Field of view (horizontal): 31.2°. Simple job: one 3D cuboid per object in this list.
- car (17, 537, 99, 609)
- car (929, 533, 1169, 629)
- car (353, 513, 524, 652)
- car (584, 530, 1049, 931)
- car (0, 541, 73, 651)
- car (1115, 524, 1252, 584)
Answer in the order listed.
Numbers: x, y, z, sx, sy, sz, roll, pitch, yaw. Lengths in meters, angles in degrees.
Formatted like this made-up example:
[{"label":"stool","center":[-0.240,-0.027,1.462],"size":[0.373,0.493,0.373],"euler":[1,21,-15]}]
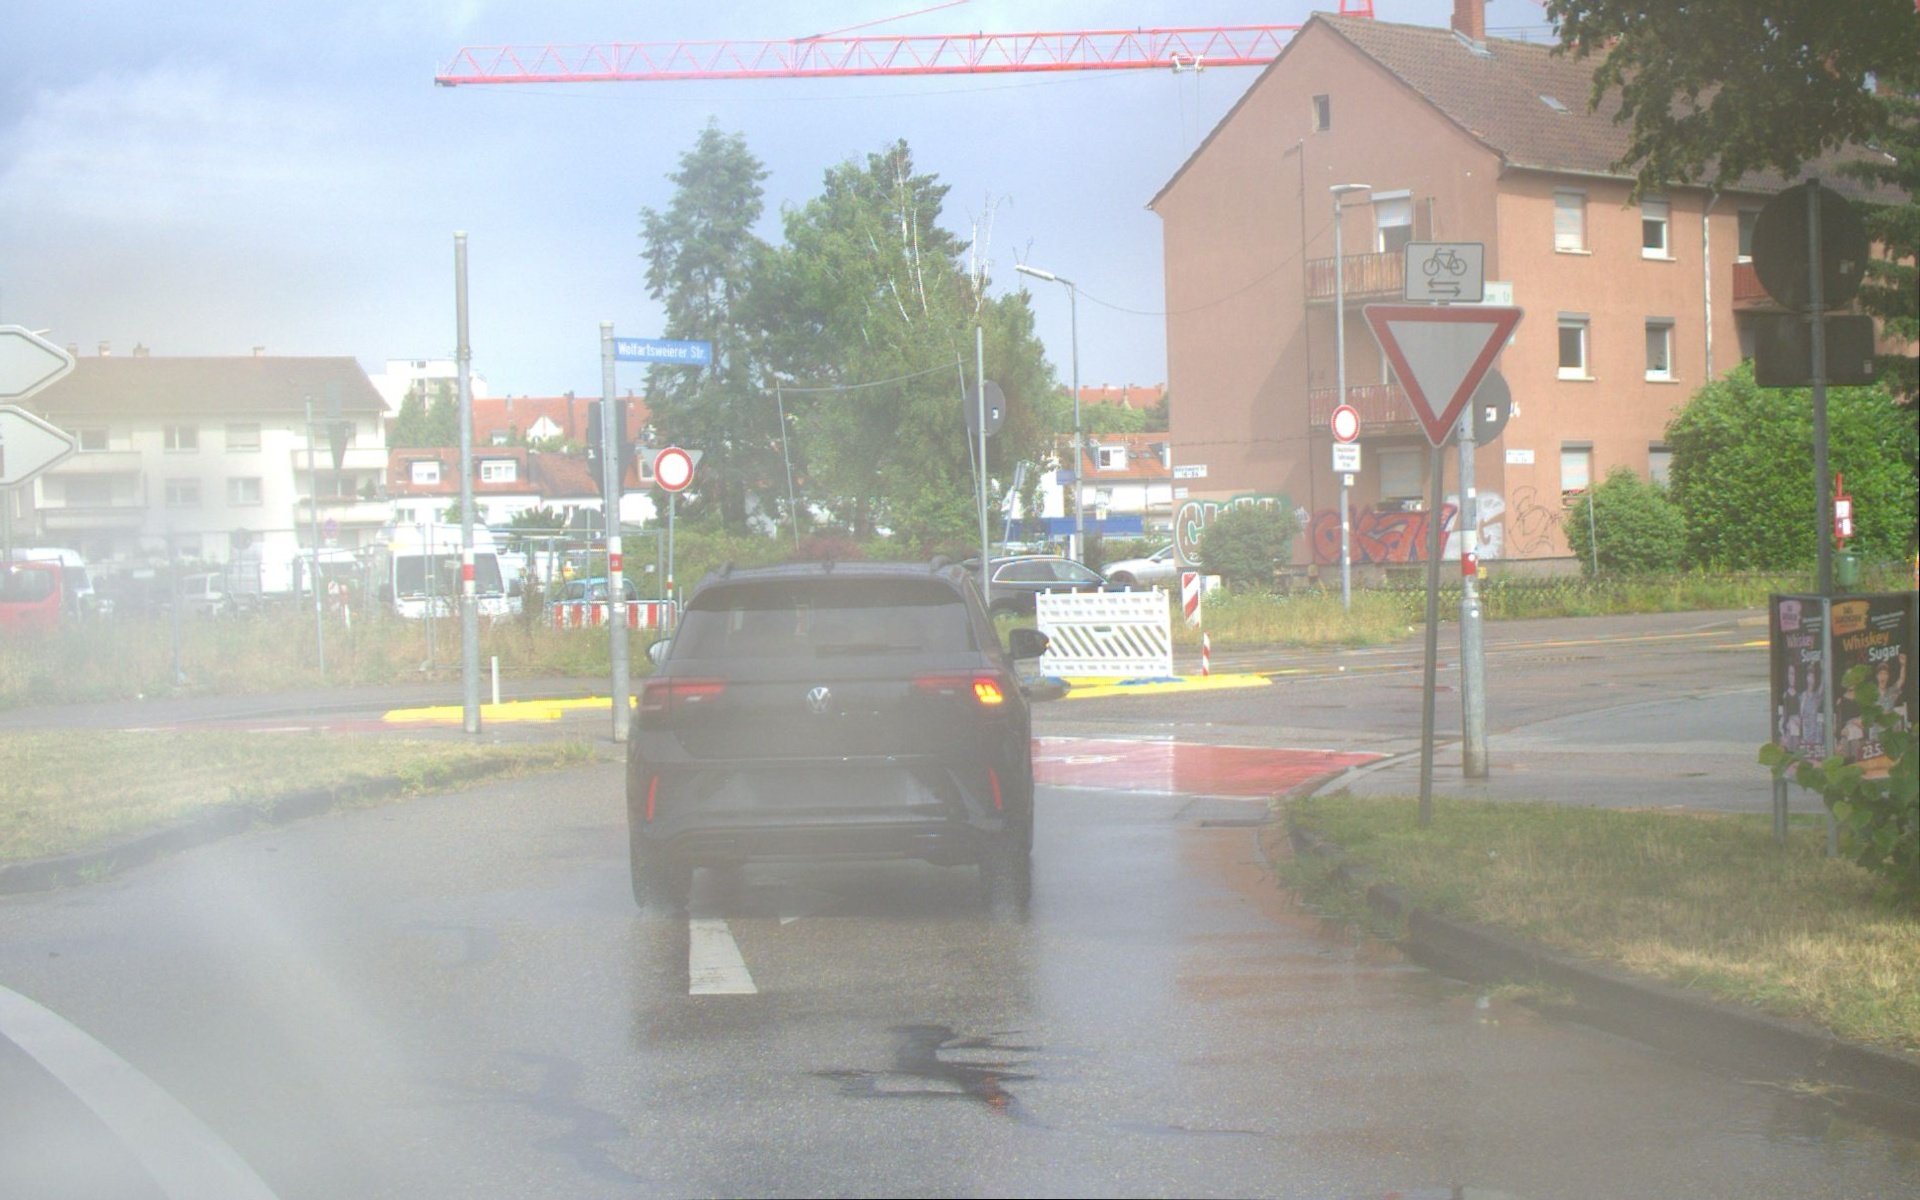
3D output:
[{"label":"car","center":[-29.003,-0.906,110.471],"size":[2.372,2.077,4.973],"euler":[-1,3,-16]},{"label":"car","center":[1.613,-0.357,62.555],"size":[4.044,1.627,1.617],"euler":[-2,1,-13]},{"label":"car","center":[-9.018,-0.368,58.975],"size":[2.036,2.077,6.268],"euler":[-1,3,-16]},{"label":"car","center":[-0.593,0.504,16.332],"size":[1.897,1.612,4.000],"euler":[-1,1,0]},{"label":"car","center":[-16.529,-0.095,59.177],"size":[1.923,1.694,4.002],"euler":[-2,3,-22]},{"label":"car","center":[6.021,-1.235,92.580],"size":[3.511,1.514,1.616],"euler":[-1,1,10]}]
